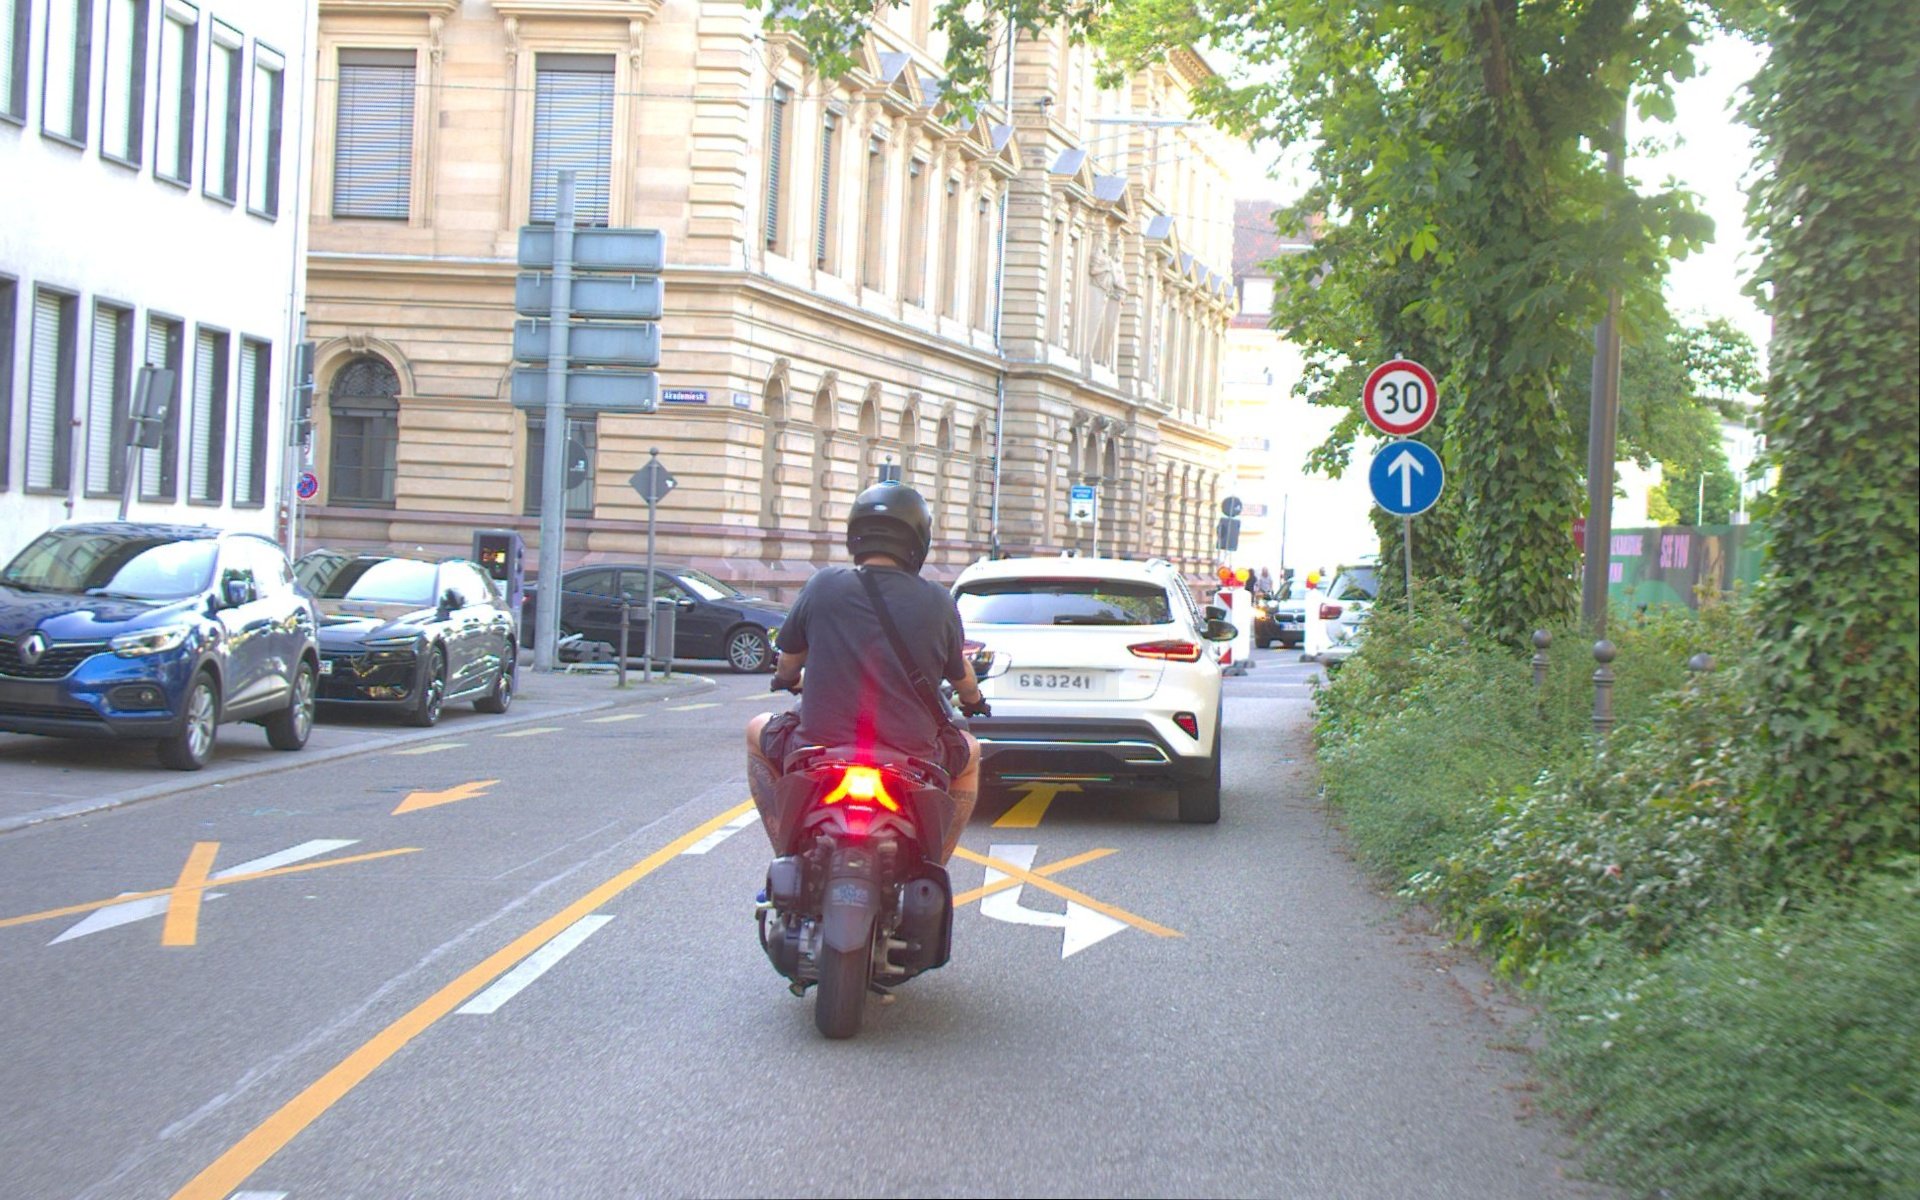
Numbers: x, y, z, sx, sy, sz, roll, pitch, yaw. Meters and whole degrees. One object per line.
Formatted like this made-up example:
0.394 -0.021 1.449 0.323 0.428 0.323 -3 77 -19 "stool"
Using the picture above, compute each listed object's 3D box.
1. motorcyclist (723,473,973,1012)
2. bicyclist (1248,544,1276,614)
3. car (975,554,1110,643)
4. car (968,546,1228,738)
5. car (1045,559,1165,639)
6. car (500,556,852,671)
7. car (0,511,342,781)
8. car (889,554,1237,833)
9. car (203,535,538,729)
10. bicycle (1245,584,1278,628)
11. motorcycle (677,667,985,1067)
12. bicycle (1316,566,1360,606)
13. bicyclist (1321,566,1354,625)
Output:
-0.351 0.441 11.061 0.657 1.645 0.650 4 1 3 "motorcyclist"
7.294 -0.500 83.024 0.566 1.661 0.834 2 1 10 "bicyclist"
1.578 -0.046 64.139 1.994 1.561 4.287 2 1 8 "car"
1.286 0.327 30.255 1.841 1.458 4.056 4 1 7 "car"
2.975 -0.033 69.842 1.994 1.523 4.183 2 1 8 "car"
-3.770 0.159 45.906 4.316 1.385 1.775 2 1 14 "car"
-5.812 0.247 23.881 1.934 1.662 4.346 2 1 4 "car"
0.672 0.474 20.485 1.851 1.475 4.057 1 1 3 "car"
-5.204 0.236 31.008 1.824 1.498 4.759 4 1 4 "car"
7.280 0.137 82.985 0.583 1.031 2.128 2 1 10 "bicycle"
-0.372 0.795 10.898 0.796 1.062 1.725 4 1 2 "motorcycle"
10.008 -0.378 90.996 0.533 1.031 2.033 2 1 24 "bicycle"
9.997 -0.113 91.112 0.629 1.548 0.731 2 1 24 "bicyclist"
